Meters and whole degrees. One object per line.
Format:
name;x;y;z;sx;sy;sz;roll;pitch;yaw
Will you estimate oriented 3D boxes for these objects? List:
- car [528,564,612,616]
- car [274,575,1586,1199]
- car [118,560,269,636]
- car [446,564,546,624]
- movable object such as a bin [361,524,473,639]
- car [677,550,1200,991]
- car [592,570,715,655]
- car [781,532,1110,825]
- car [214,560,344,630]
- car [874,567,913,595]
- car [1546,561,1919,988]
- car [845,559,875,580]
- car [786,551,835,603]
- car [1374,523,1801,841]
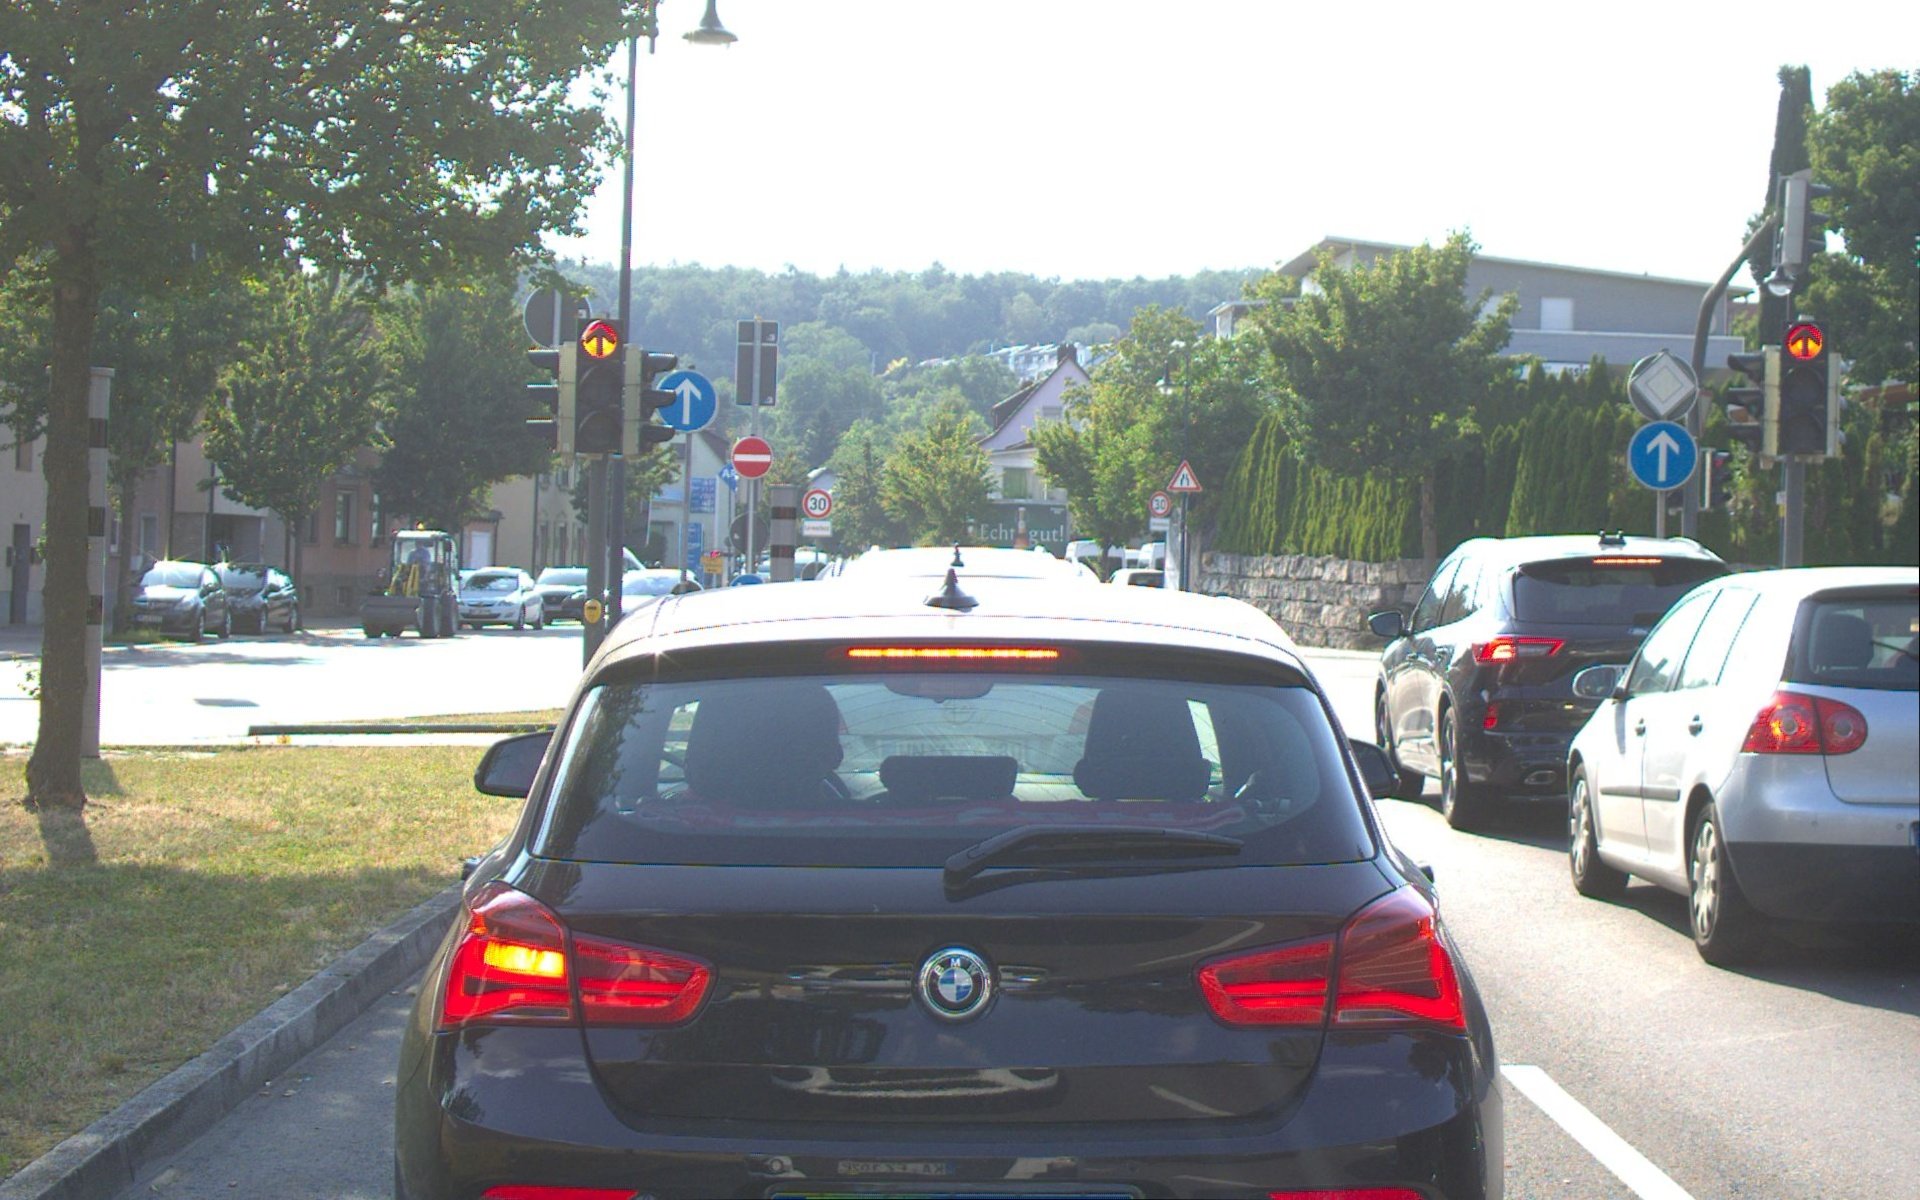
car;-11.129;-0.290;98.347;1.737;1.296;3.799;5;1;2
car;-0.034;0.678;6.852;1.788;1.393;4.281;-1;1;0
car;-14.930;-0.061;67.147;1.737;1.296;4.000;5;1;3
car;-11.548;-0.166;85.751;1.737;1.296;3.799;5;1;2
movable object such as a bin;-11.899;-0.420;75.544;1.736;2.433;4.450;0;1;0
car;-0.070;0.559;13.997;1.788;1.488;4.281;-1;1;0
car;-5.620;0.203;63.381;1.839;1.477;4.000;1;1;1
car;-0.076;0.394;21.037;1.788;1.588;4.281;-1;1;0
car;-14.507;-0.118;73.422;1.737;1.296;4.000;5;1;2
car;-3.508;-1.016;181.151;1.737;1.296;3.799;5;1;2
car;3.559;0.577;13.735;1.761;1.421;3.903;-1;1;0
car;-6.982;-2.139;240.681;1.737;1.296;3.799;5;1;2
car;-7.099;-1.124;163.397;2.084;2.385;5.529;1;1;0
car;3.533;0.400;20.016;1.761;1.650;3.903;-1;1;0
